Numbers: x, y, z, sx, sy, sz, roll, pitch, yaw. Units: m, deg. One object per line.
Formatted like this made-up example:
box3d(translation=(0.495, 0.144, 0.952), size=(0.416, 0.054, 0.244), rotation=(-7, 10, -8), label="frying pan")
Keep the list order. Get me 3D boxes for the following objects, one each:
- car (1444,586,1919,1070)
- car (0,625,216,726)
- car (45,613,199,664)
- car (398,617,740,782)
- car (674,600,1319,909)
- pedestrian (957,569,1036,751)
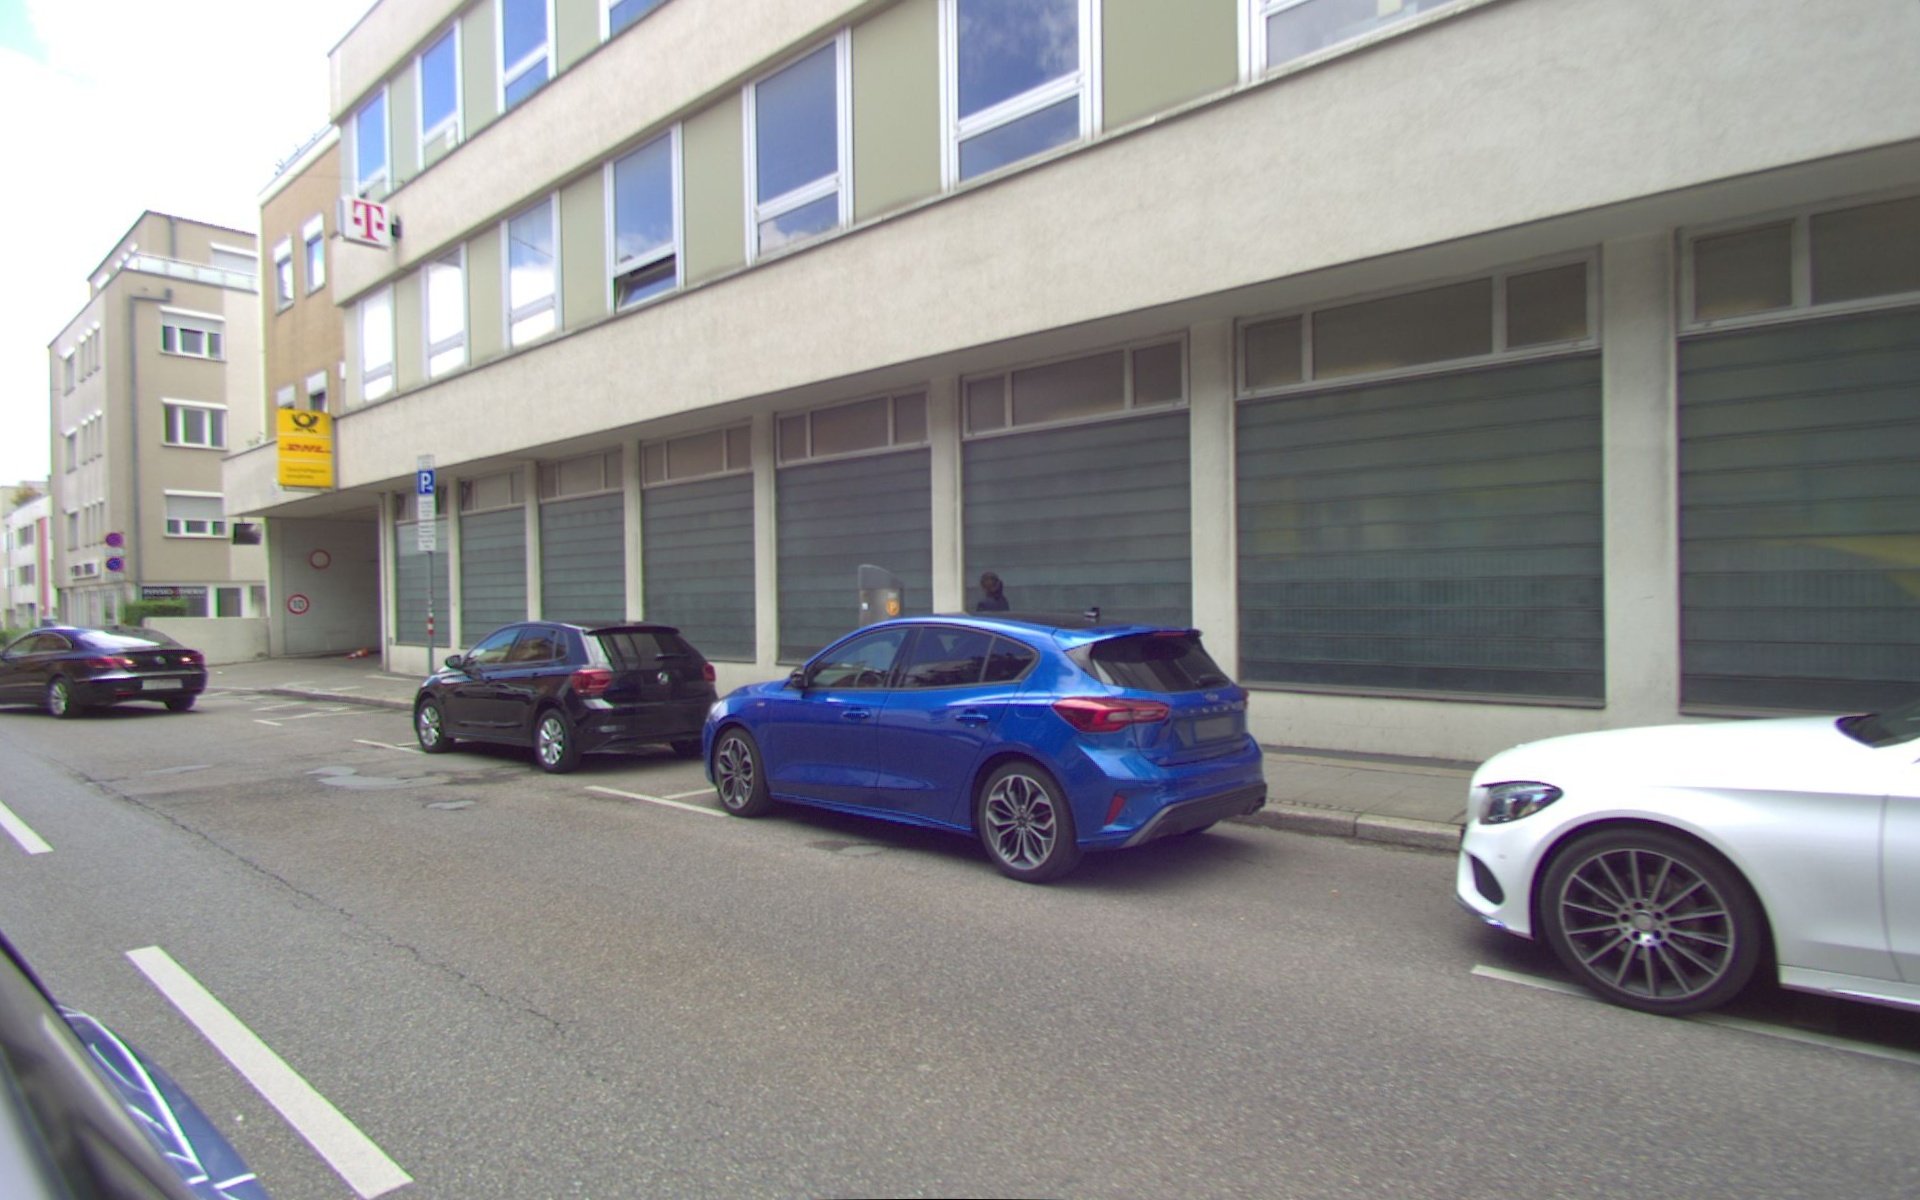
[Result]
box3d(translation=(4.114, 0.673, 2.999), size=(4.552, 1.445, 1.651), rotation=(-2, -2, 43), label="car")
box3d(translation=(-14.262, 1.156, 16.401), size=(4.428, 1.409, 1.643), rotation=(-1, 0, 25), label="car")
box3d(translation=(-36.872, 1.633, 44.645), size=(1.966, 2.013, 5.016), rotation=(-1, 0, 42), label="car")
box3d(translation=(-4.229, 0.918, 10.709), size=(3.866, 1.436, 1.699), rotation=(-1, -2, 39), label="car")
box3d(translation=(-0.021, 0.773, 6.853), size=(4.265, 1.436, 1.795), rotation=(-2, -2, 44), label="car")
box3d(translation=(0.365, 0.580, 10.008), size=(0.643, 1.731, 0.588), rotation=(-1, 0, 14), label="pedestrian")
